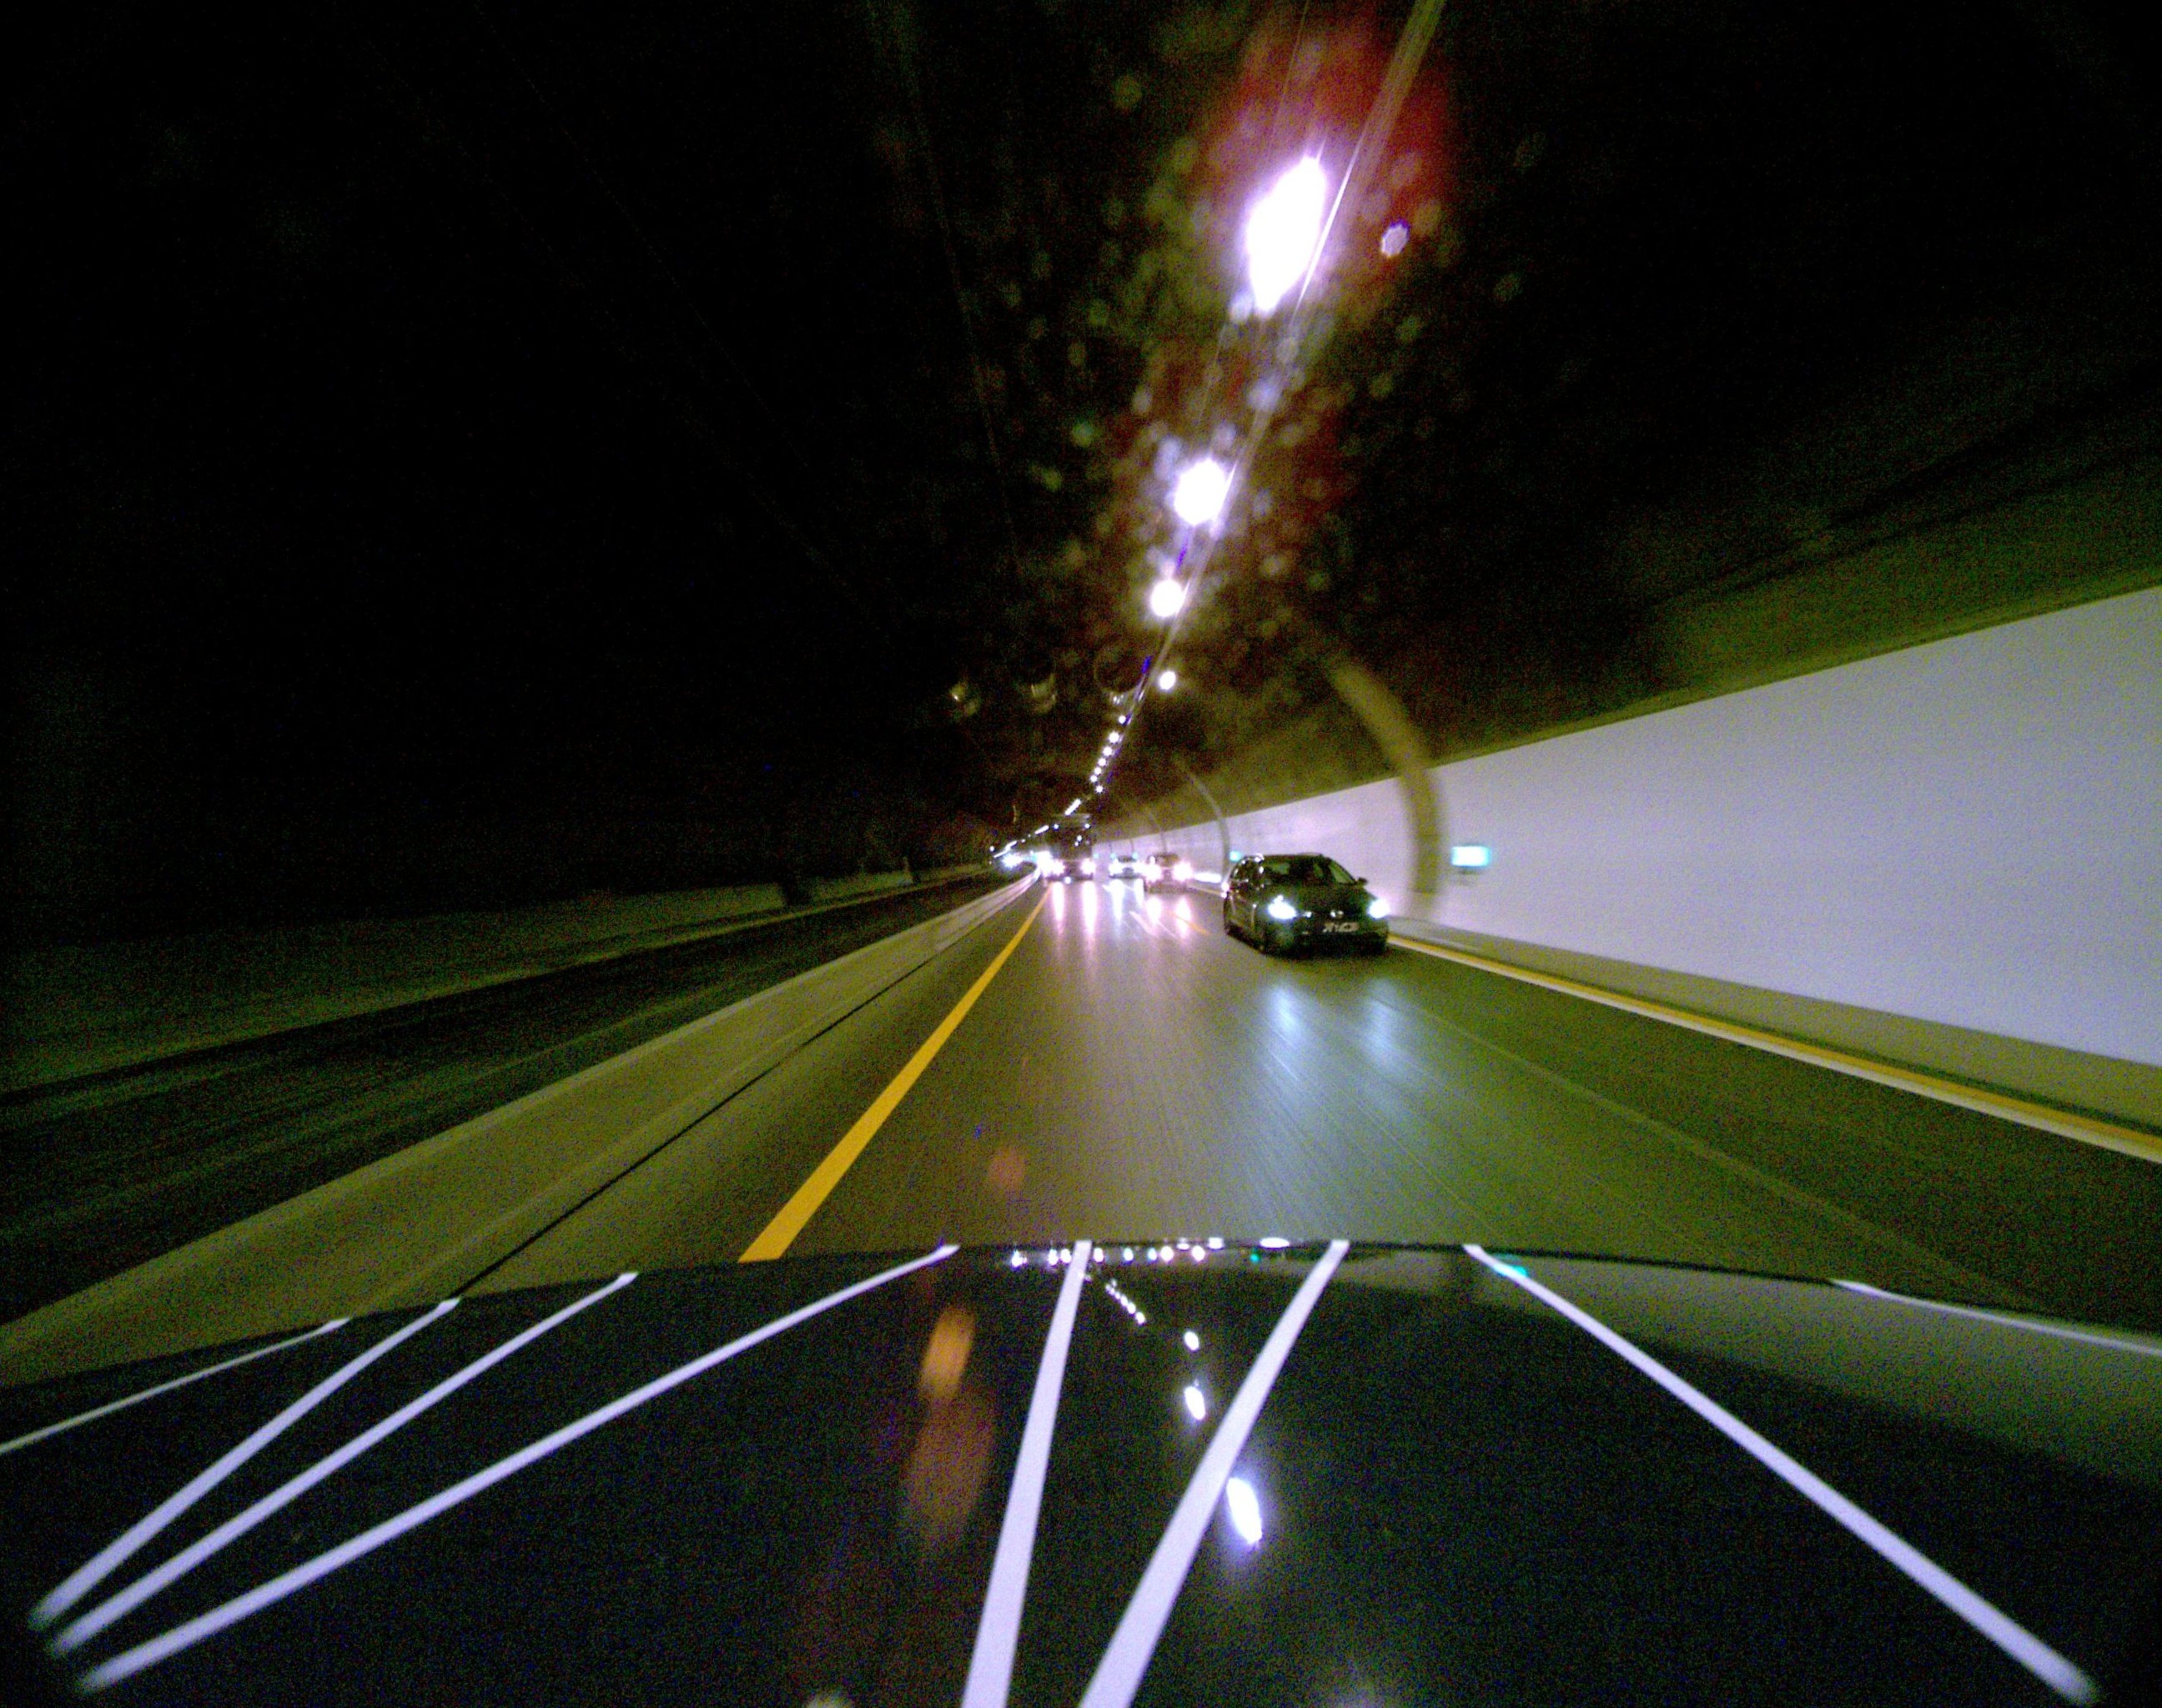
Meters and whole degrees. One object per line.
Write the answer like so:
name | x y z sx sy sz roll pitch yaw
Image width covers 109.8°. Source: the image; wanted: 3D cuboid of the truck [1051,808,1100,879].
truck | -0.482 -0.626 49.419 2.742 4.127 8.098 -2 0 -3

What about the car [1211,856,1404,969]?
car | 3.451 0.797 12.638 1.782 1.430 4.883 -2 0 1

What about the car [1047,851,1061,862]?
car | -4.094 0.357 115.938 1.999 1.524 3.999 -2 0 -3

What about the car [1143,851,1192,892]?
car | 3.408 0.672 30.194 1.531 1.508 2.651 -2 0 -2

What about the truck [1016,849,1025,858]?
truck | -19.524 -0.263 245.359 2.611 2.723 6.393 -2 0 -7

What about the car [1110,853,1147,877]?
car | 3.011 0.666 48.889 1.909 1.412 4.060 -2 0 -2
